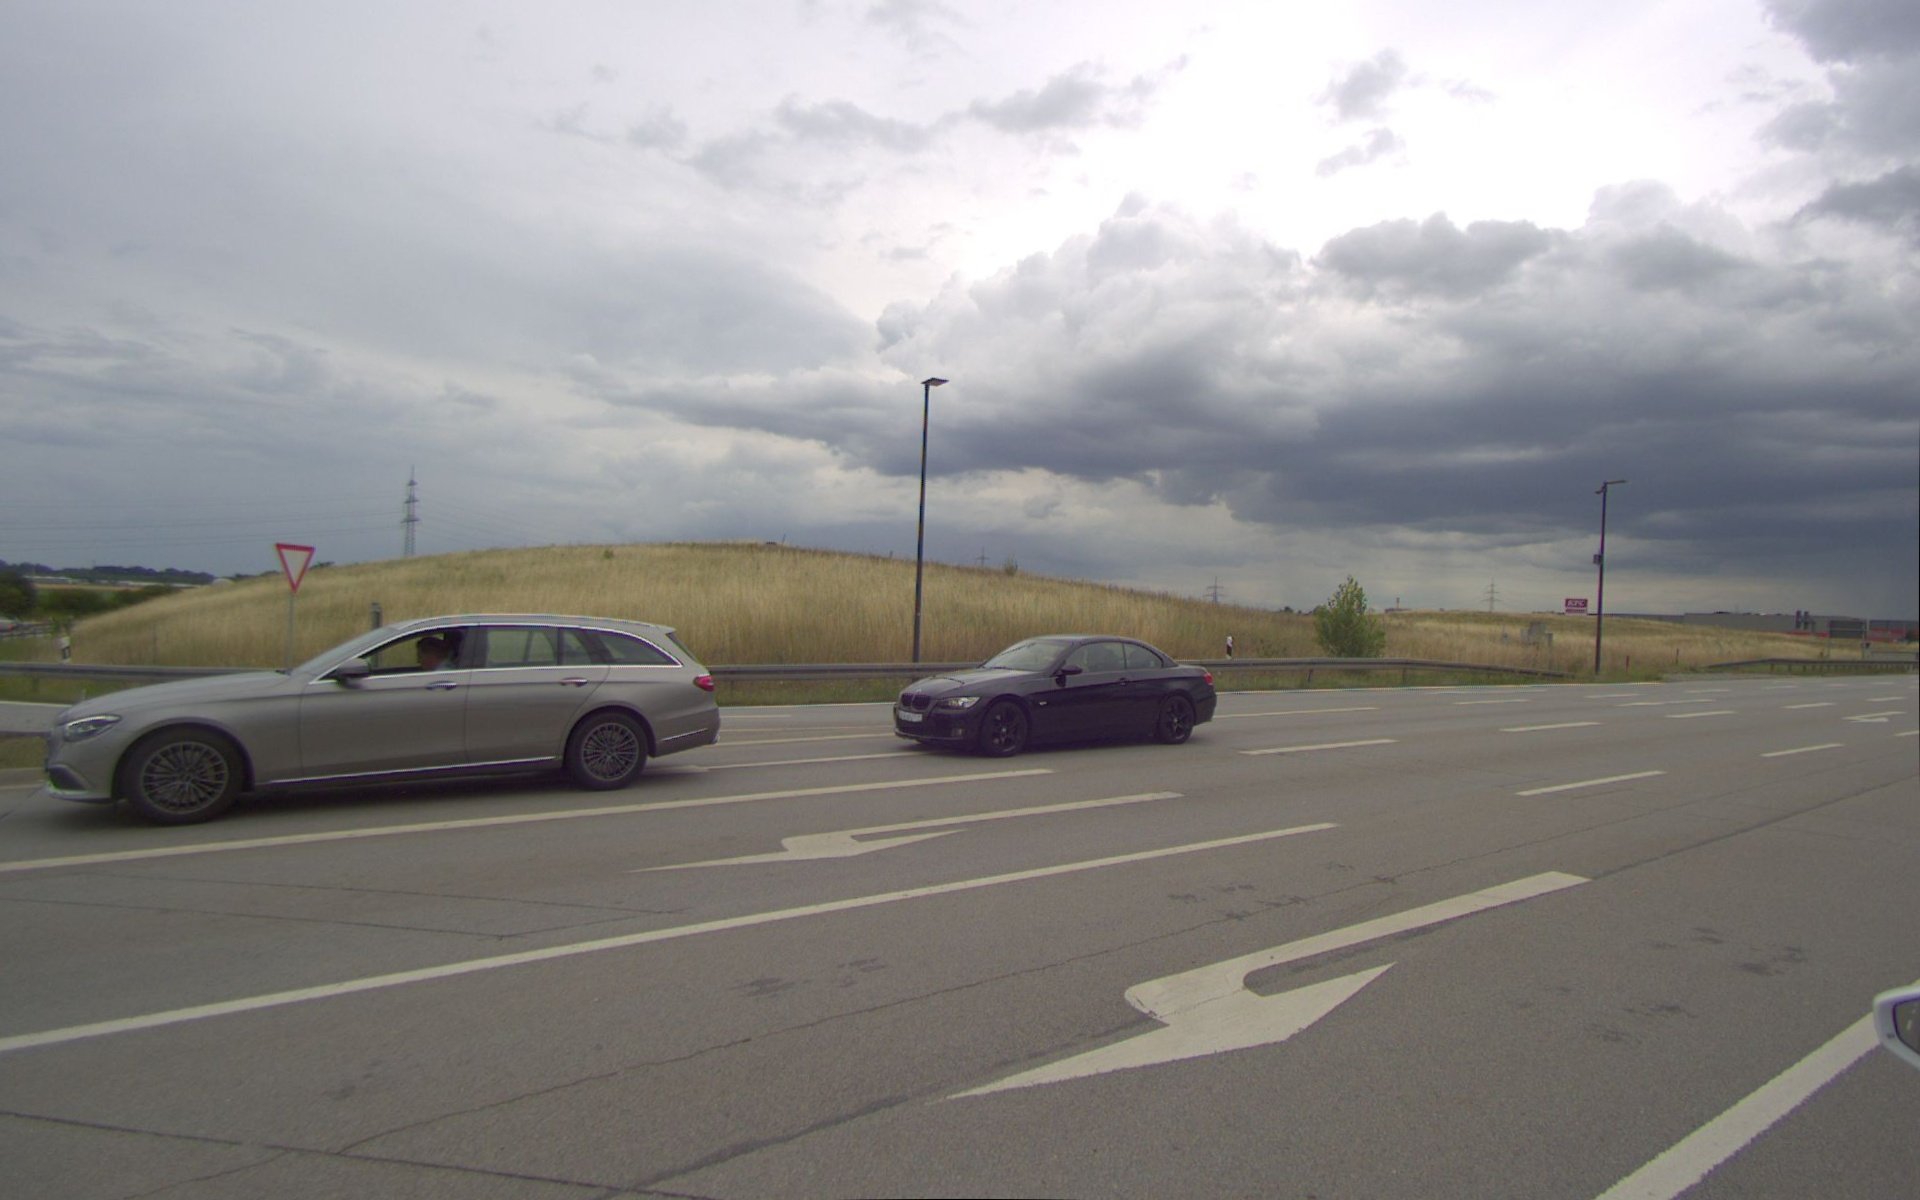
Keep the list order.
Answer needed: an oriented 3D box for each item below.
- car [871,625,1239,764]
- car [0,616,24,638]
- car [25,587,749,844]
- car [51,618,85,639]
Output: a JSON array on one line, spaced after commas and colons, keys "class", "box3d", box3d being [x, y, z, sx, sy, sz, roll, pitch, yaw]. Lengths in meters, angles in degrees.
[{"class": "car", "box3d": [1.319, 1.101, 12.653, 4.629, 1.429, 1.696, 3, -1, -36]}, {"class": "car", "box3d": [-68.313, 1.941, 71.717, 1.801, 1.540, 4.195, 2, -2, -39]}, {"class": "car", "box3d": [-4.481, 0.815, 8.608, 4.900, 1.631, 1.902, 2, -2, -36]}, {"class": "car", "box3d": [-80.144, 2.556, 90.258, 1.983, 1.716, 4.405, 3, -1, -39]}]
